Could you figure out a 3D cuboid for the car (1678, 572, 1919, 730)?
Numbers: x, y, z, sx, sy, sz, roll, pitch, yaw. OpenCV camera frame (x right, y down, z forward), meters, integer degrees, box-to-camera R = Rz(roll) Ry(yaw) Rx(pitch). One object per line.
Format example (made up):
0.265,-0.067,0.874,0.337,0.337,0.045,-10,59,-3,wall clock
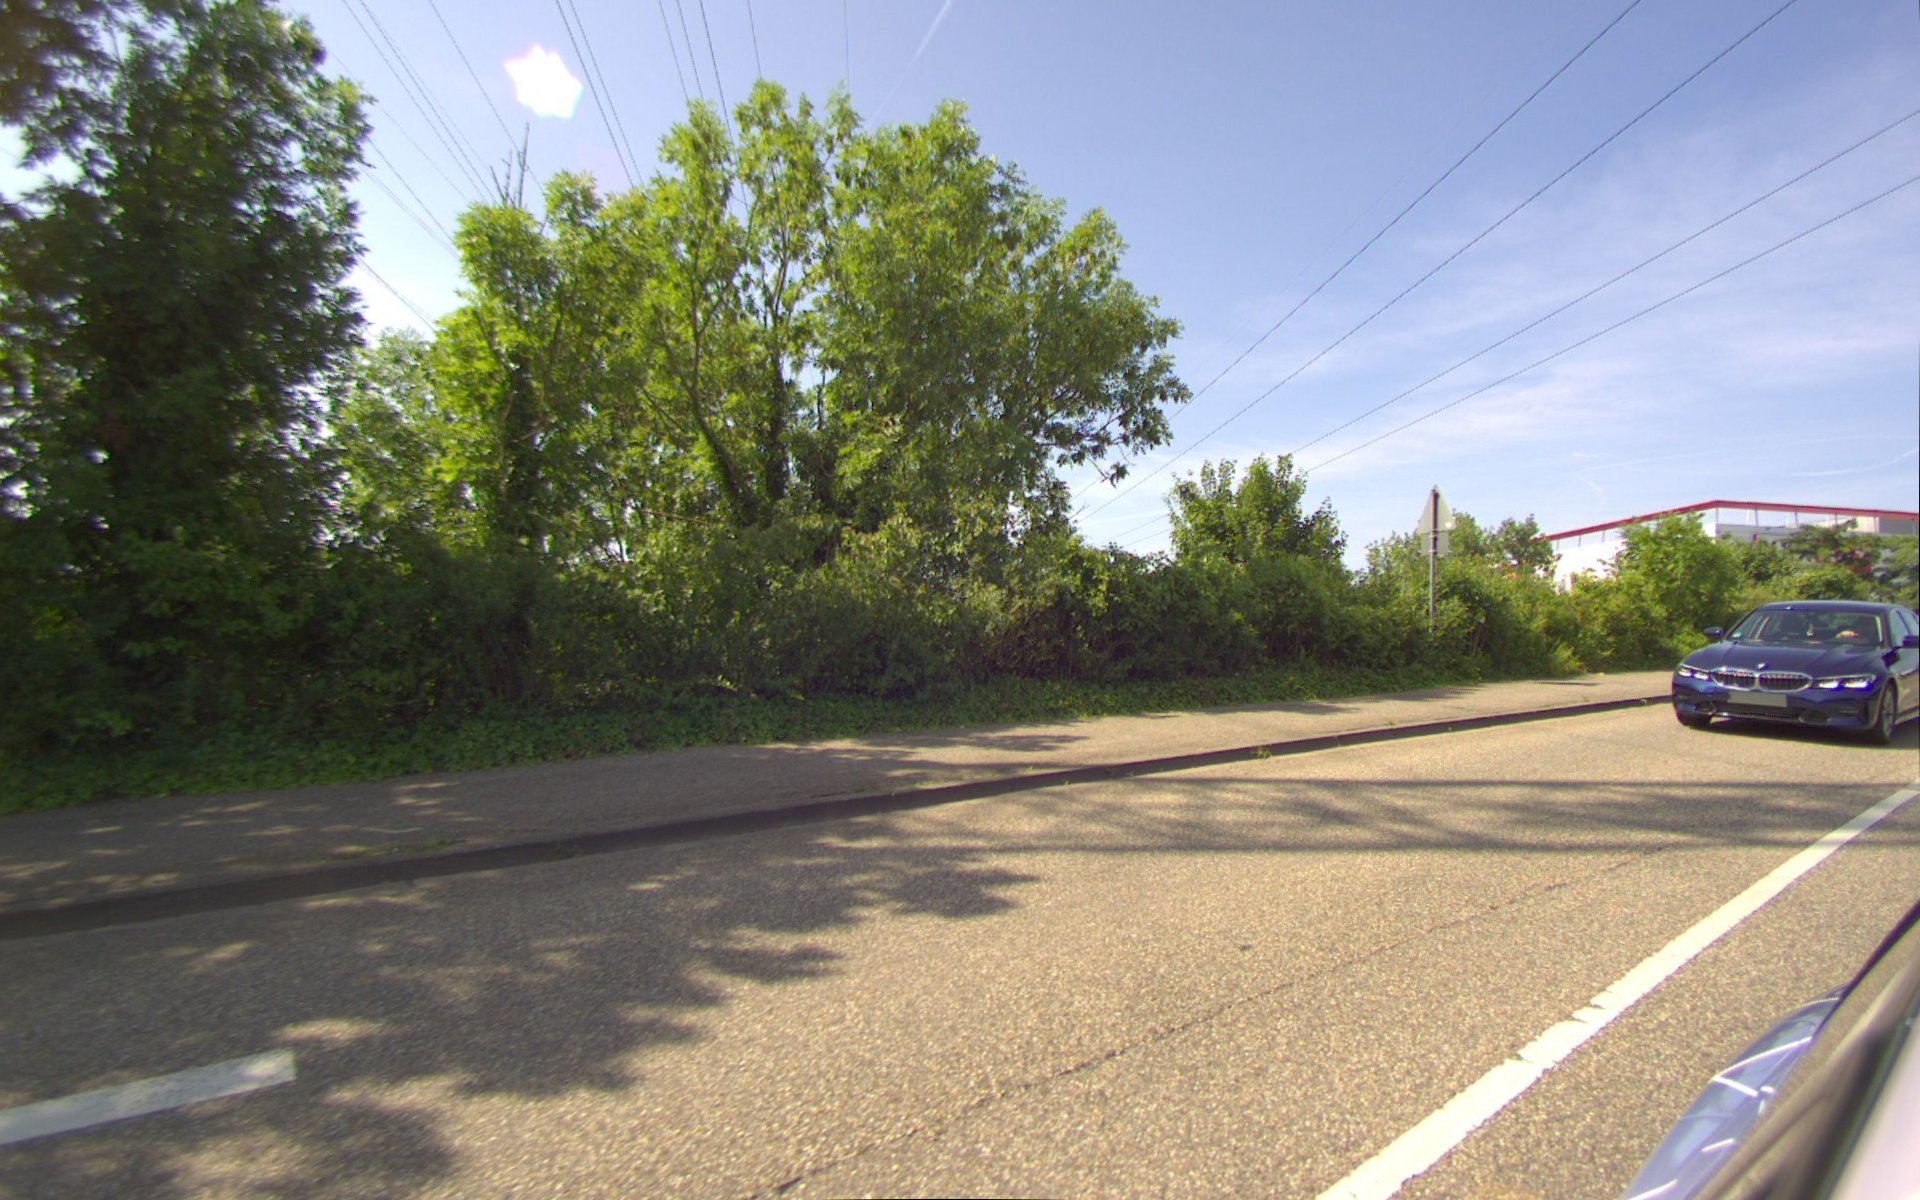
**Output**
10.113,0.637,11.700,4.436,1.503,1.791,5,-4,-38,car
